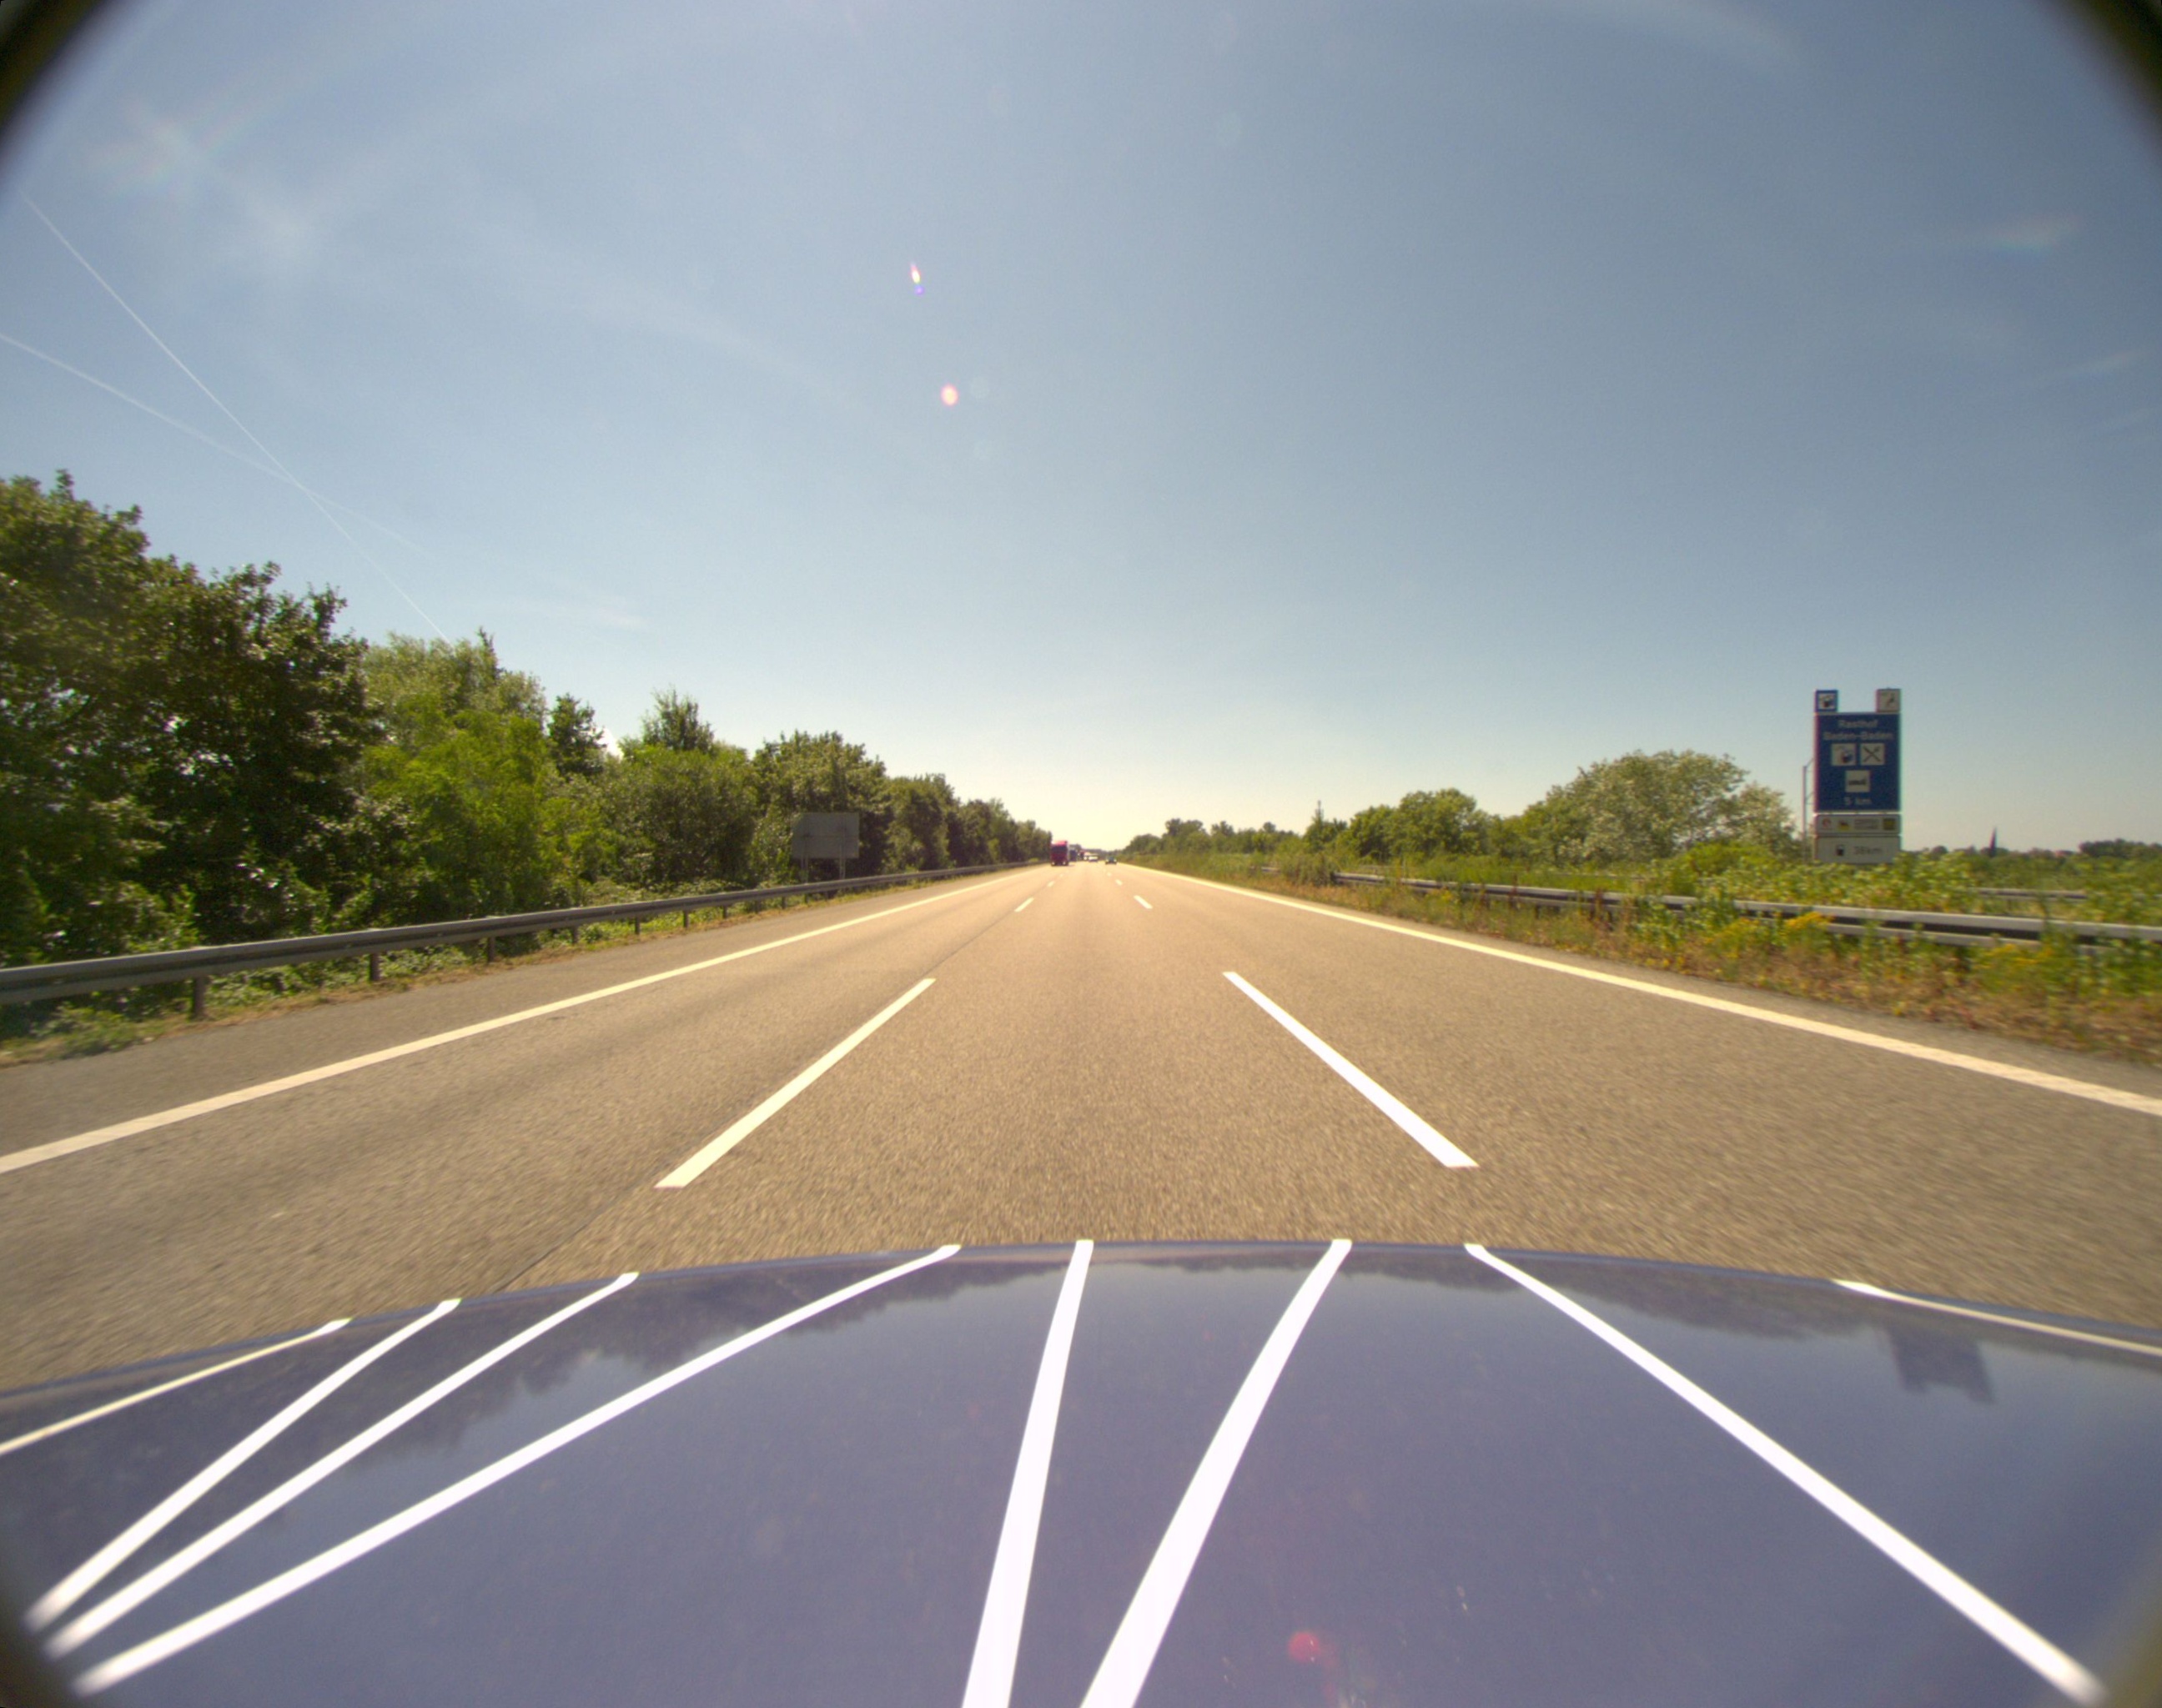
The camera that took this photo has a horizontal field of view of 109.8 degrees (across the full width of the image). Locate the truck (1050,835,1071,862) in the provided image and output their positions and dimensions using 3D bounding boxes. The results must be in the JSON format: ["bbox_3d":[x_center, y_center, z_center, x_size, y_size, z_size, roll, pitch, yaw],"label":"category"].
[{"bbox_3d":[-3.163,-0.821,121.119,2.938,3.933,10.260,-2,0,1],"label":"truck"}]

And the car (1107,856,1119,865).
[{"bbox_3d":[5.146,1.092,123.439,1.736,1.433,4.000,-2,0,1],"label":"car"}]

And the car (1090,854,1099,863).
[{"bbox_3d":[3.097,0.937,172.796,1.998,2.002,4.756,-2,0,1],"label":"car"}]

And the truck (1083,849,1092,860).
[{"bbox_3d":[1.975,0.299,244.530,2.726,3.391,9.769,-2,0,1],"label":"truck"}]

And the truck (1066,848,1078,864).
[{"bbox_3d":[-2.553,0.513,214.109,2.938,4.429,10.260,-2,0,1],"label":"truck"}]
